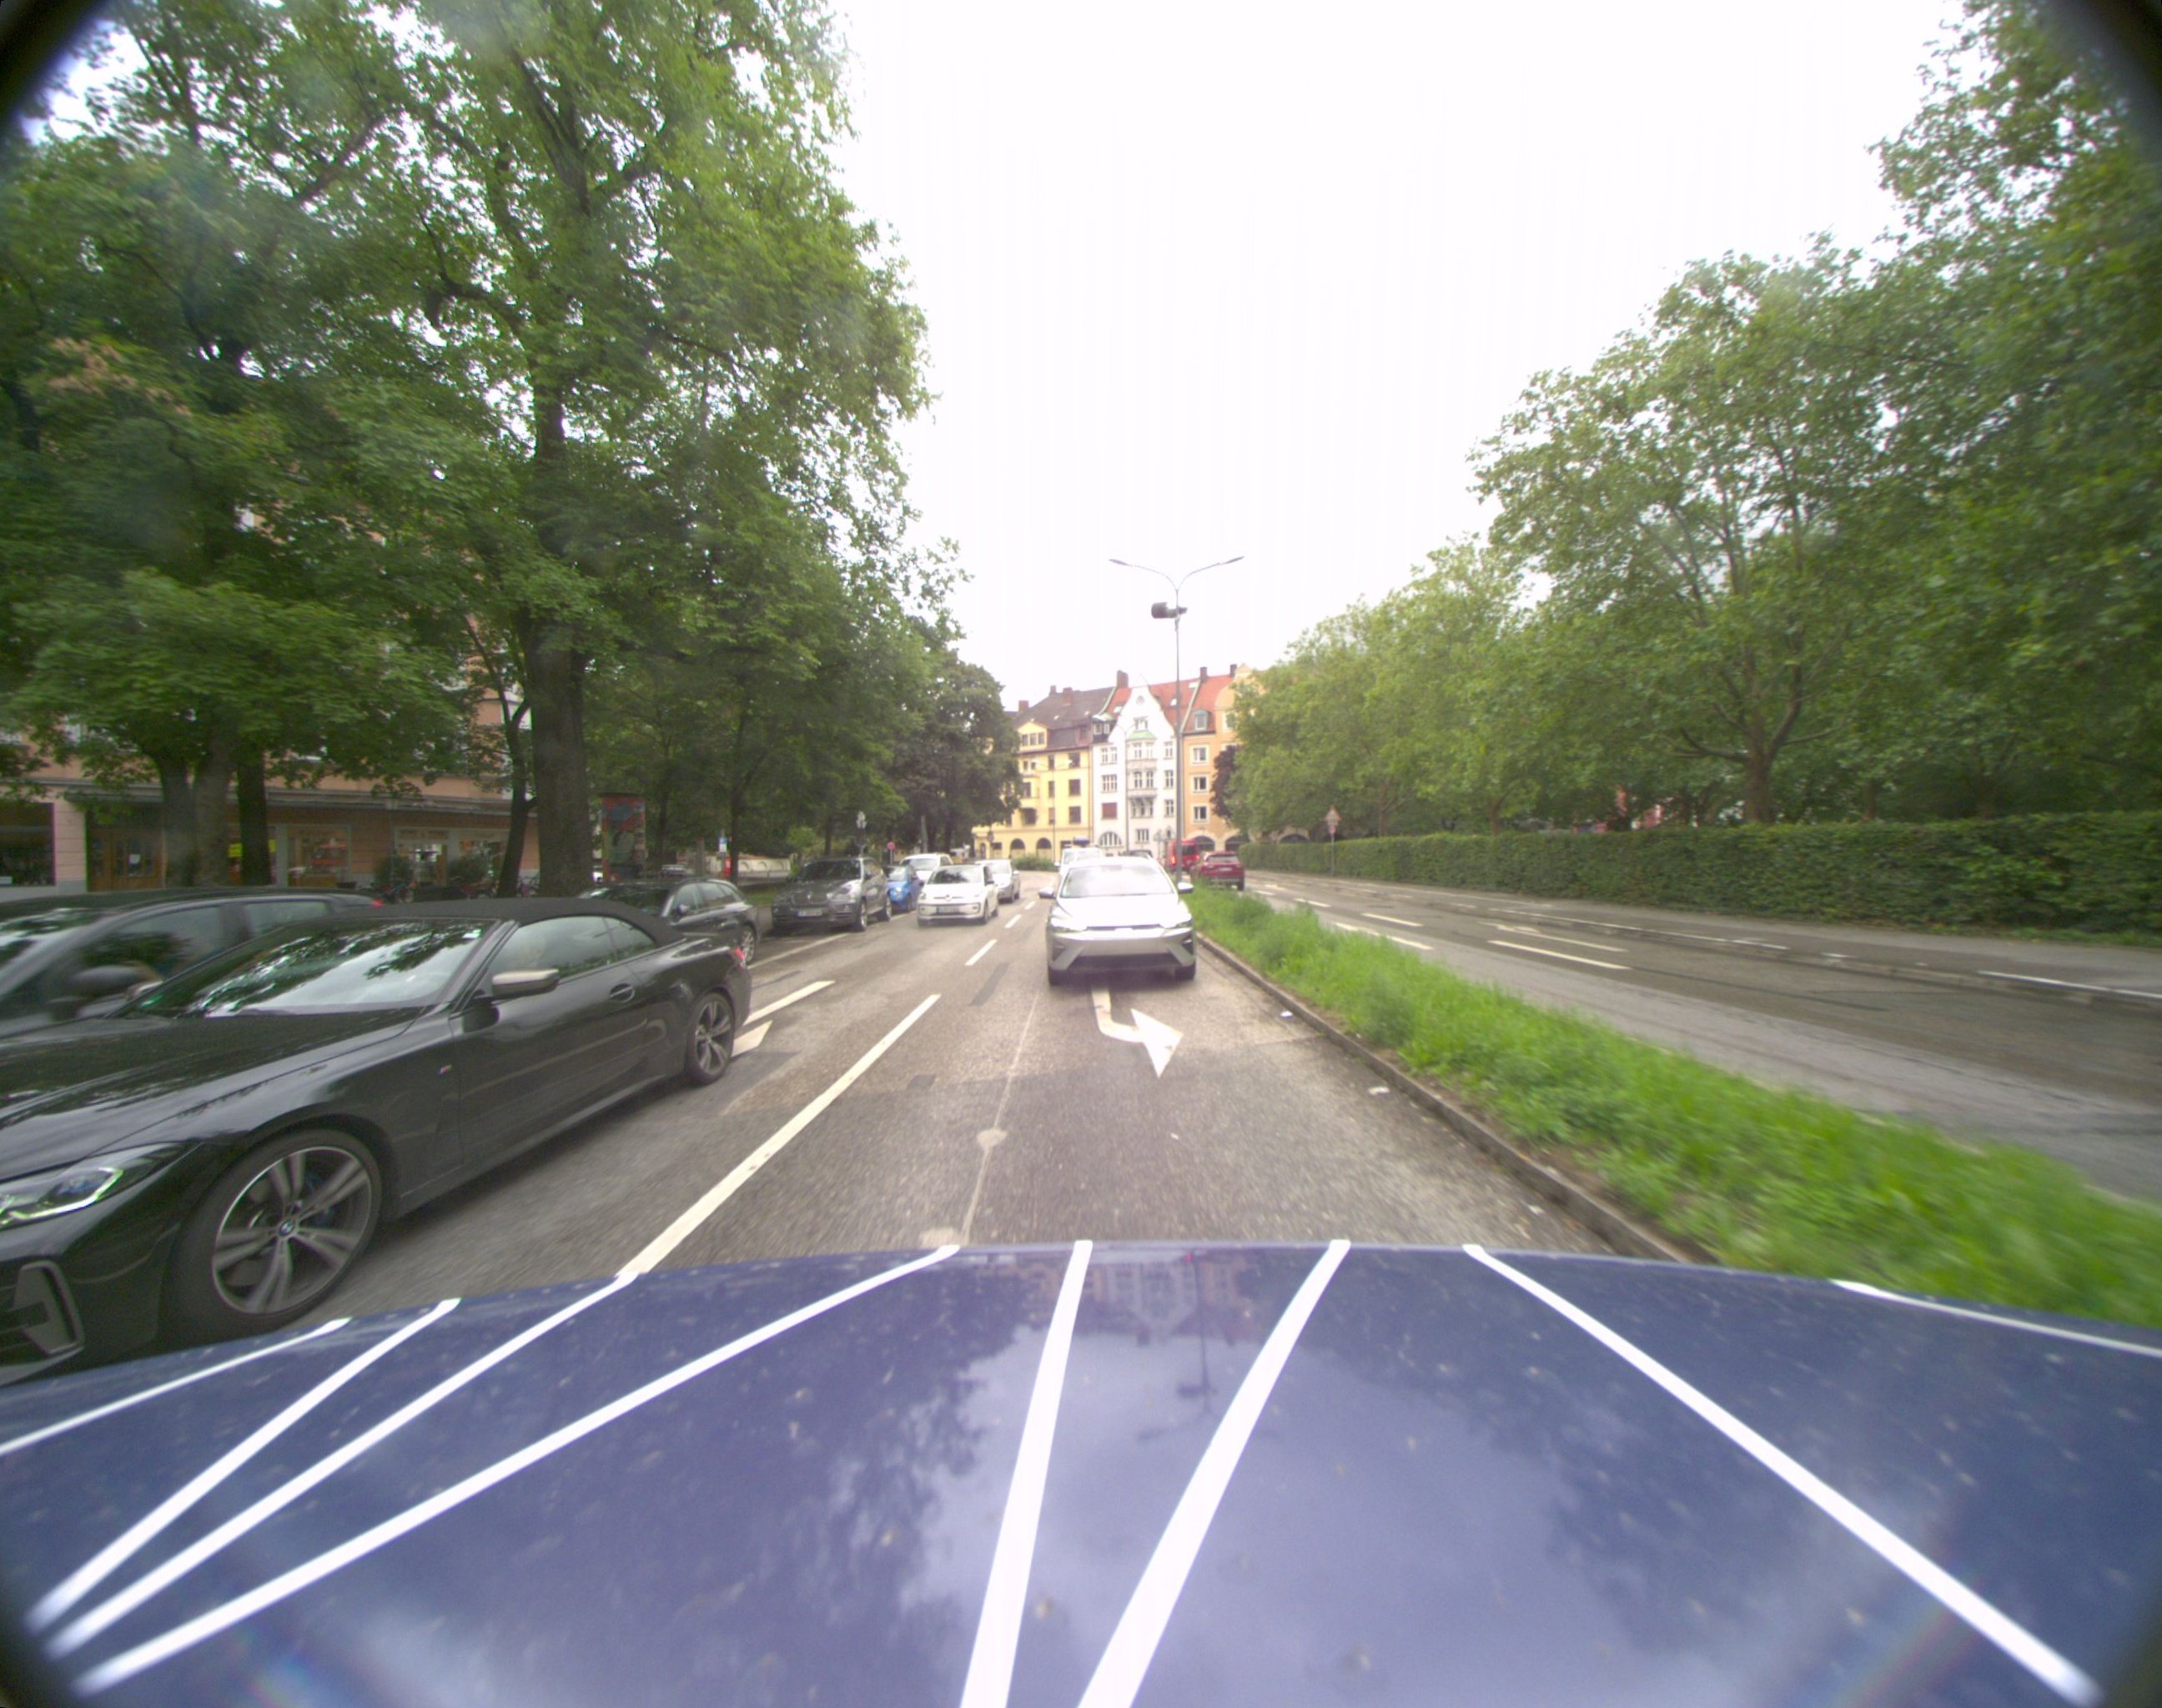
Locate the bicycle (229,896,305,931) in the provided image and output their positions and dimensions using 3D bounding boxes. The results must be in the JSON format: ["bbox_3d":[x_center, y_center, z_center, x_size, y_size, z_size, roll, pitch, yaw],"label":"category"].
[{"bbox_3d":[-19.642,1.431,18.355,0.318,0.719,1.180,-2,1,22],"label":"bicycle"}]

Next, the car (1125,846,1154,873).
[{"bbox_3d":[4.480,0.419,59.091,1.862,1.979,4.704,-1,0,0],"label":"car"}]

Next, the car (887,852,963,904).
[{"bbox_3d":[-5.947,0.841,29.581,1.848,1.845,5.024,-1,0,1],"label":"car"}]

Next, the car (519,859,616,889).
[{"bbox_3d":[-29.431,1.126,43.597,4.436,1.458,1.862,-2,1,10],"label":"car"}]

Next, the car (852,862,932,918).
[{"bbox_3d":[-5.776,1.040,23.638,1.523,1.540,3.662,-1,0,1],"label":"car"}]

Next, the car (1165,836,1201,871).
[{"bbox_3d":[7.844,0.028,58.981,2.108,2.573,6.082,0,-1,1],"label":"car"}]

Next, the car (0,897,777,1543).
[{"bbox_3d":[-3.553,1.075,4.084,1.728,1.381,4.799,-1,0,2],"label":"car"}]

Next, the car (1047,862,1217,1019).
[{"bbox_3d":[0.504,0.894,9.660,1.710,1.521,3.886,-1,0,-1],"label":"car"}]

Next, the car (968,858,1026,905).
[{"bbox_3d":[-2.951,0.934,27.329,1.648,1.521,3.886,-1,0,-1],"label":"car"}]

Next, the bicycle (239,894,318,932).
[{"bbox_3d":[-17.742,1.292,16.815,0.318,0.719,1.179,-2,1,11],"label":"bicycle"}]

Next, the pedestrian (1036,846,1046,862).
[{"bbox_3d":[-5.332,-0.004,101.590,1.005,2.002,0.880,-1,2,33],"label":"pedestrian"}]

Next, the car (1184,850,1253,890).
[{"bbox_3d":[5.940,0.691,33.387,2.109,1.628,4.939,0,-1,0],"label":"car"}]

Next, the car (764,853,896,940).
[{"bbox_3d":[-5.863,0.900,18.364,1.937,1.809,4.552,-1,0,-4],"label":"car"}]

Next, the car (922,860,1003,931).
[{"bbox_3d":[-2.951,0.969,19.523,1.776,1.515,4.205,-2,1,-7],"label":"car"}]

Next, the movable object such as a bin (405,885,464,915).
[{"bbox_3d":[-19.732,1.404,23.216,1.179,0.867,0.774,0,1,8],"label":"movable object such as a bin"}]

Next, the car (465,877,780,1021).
[{"bbox_3d":[-6.073,1.138,10.880,1.772,1.452,4.641,-1,0,-1],"label":"car"}]

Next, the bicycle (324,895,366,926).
[{"bbox_3d":[-17.713,1.355,18.275,1.176,0.719,0.319,-2,2,26],"label":"bicycle"}]

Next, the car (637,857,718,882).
[{"bbox_3d":[-26.797,1.027,50.527,4.436,1.458,1.862,-2,1,10],"label":"car"}]

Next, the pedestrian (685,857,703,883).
[{"bbox_3d":[-23.631,0.994,46.396,0.602,1.543,0.644,-2,1,6],"label":"pedestrian"}]

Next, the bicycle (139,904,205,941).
[{"bbox_3d":[-19.328,1.455,16.158,1.177,0.719,0.319,-2,1,9],"label":"bicycle"}]

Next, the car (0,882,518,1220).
[{"bbox_3d":[-6.269,1.054,4.867,1.835,1.540,4.554,-1,0,1],"label":"car"}]

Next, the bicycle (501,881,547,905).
[{"bbox_3d":[-18.927,1.307,25.840,0.318,0.719,1.181,-1,2,44],"label":"bicycle"}]

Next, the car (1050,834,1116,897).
[{"bbox_3d":[0.191,0.439,30.799,1.911,2.337,4.948,0,0,9],"label":"car"}]
